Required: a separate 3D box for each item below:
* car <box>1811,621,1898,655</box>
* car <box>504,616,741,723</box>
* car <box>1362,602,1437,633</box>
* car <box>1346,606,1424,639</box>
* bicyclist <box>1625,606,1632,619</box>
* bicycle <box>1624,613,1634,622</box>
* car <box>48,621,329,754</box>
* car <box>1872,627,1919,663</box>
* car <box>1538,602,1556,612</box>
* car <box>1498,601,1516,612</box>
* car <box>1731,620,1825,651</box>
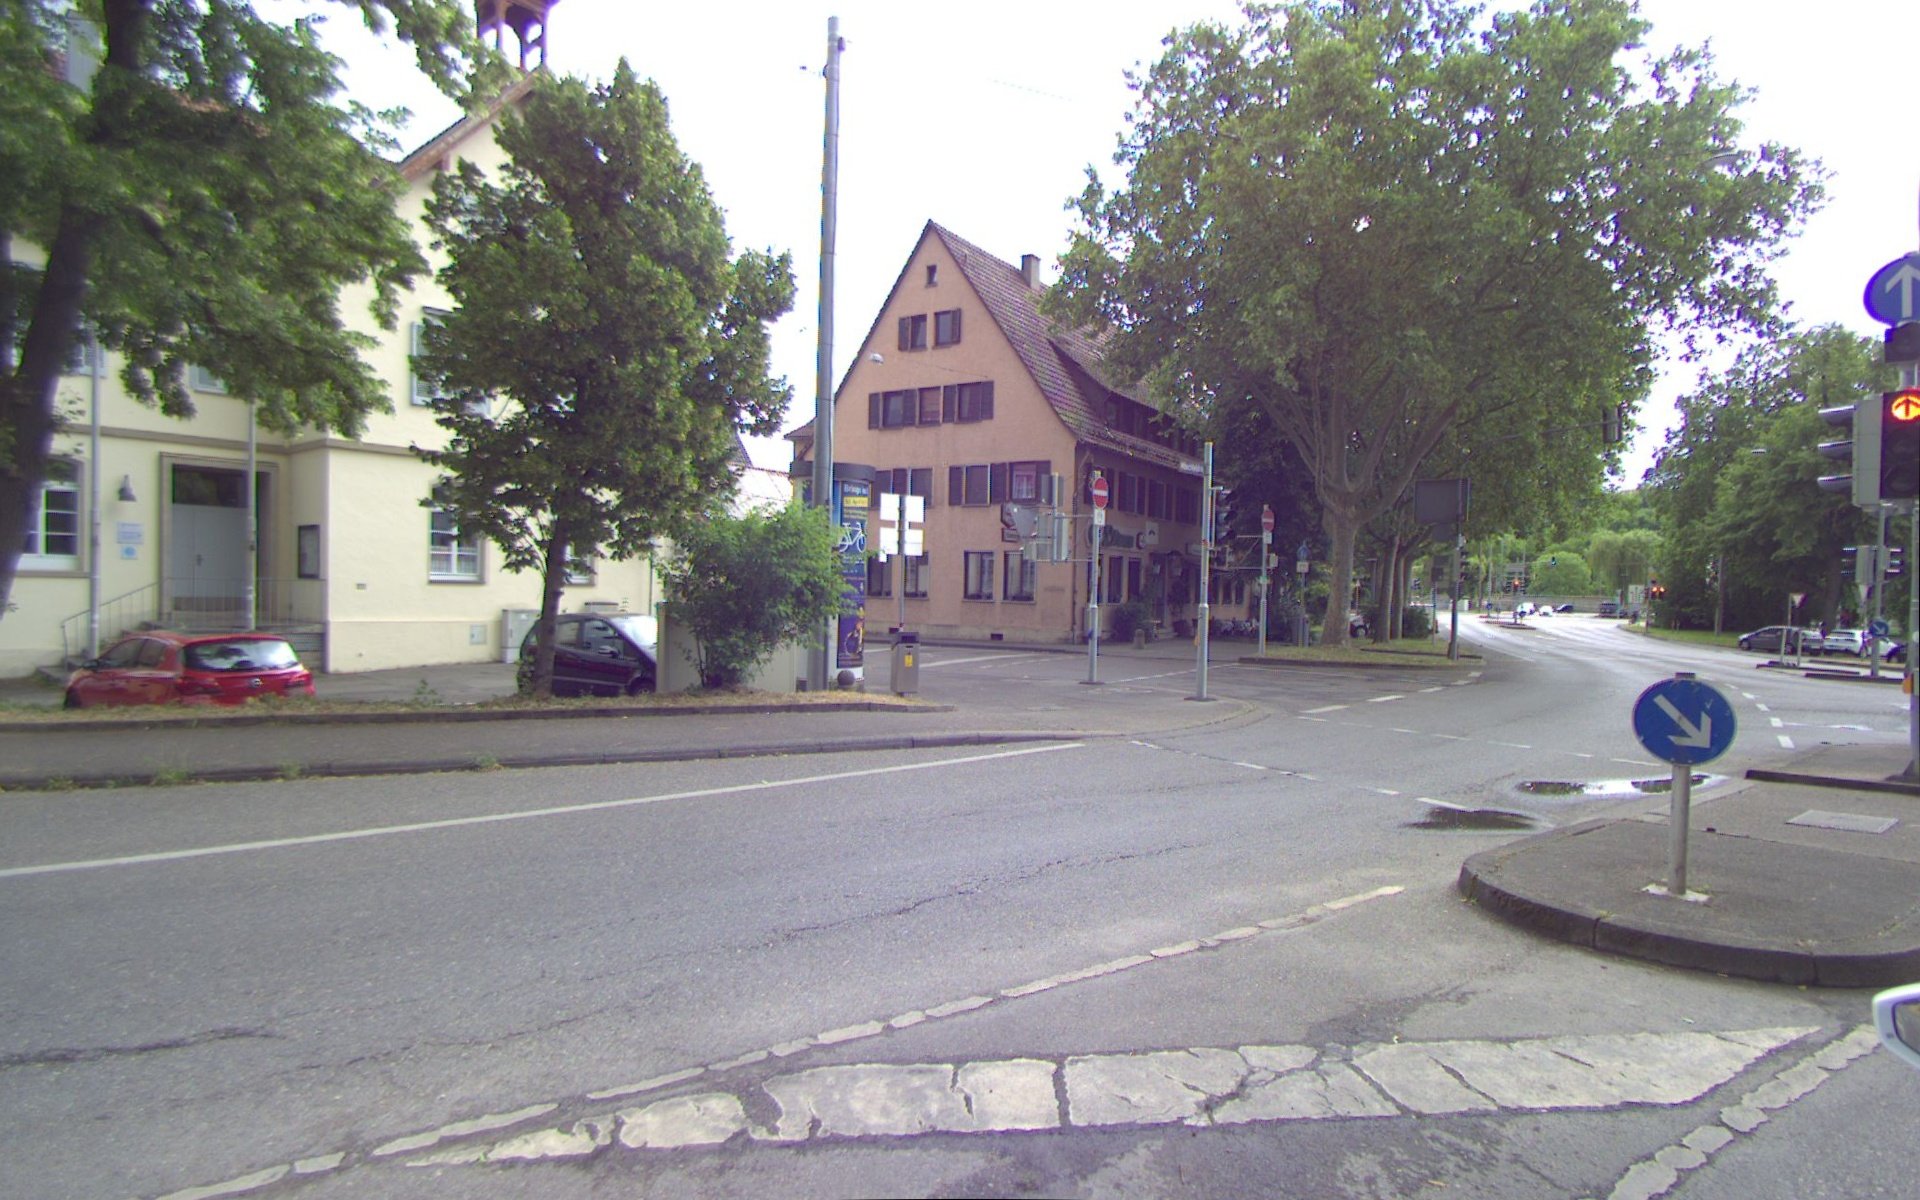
[{"bbox_3d":[47.461,2.036,53.330,3.696,1.662,1.859,2,0,-19],"label":"car"},{"bbox_3d":[-5.530,1.054,16.441,3.507,1.459,1.644,2,0,26],"label":"car"},{"bbox_3d":[25.728,1.005,58.786,3.924,1.706,1.998,1,0,25],"label":"car"},{"bbox_3d":[23.996,1.249,56.709,3.924,1.706,1.998,1,0,25],"label":"car"},{"bbox_3d":[70.928,1.352,106.538,0.534,1.359,0.710,2,0,43],"label":"bicyclist"},{"bbox_3d":[71.004,1.860,106.630,0.550,0.971,2.021,2,0,44],"label":"bicycle"},{"bbox_3d":[-10.262,1.051,13.324,3.653,1.401,1.659,2,0,30],"label":"car"},{"bbox_3d":[39.446,1.858,40.768,1.746,1.370,3.326,2,0,-2],"label":"car"},{"bbox_3d":[90.726,1.123,155.343,1.469,1.436,3.028,3,0,11],"label":"car"},{"bbox_3d":[85.247,1.020,156.522,1.553,1.506,3.337,3,0,12],"label":"car"},{"bbox_3d":[43.817,1.874,53.911,1.592,1.485,3.778,2,0,-11],"label":"car"}]
